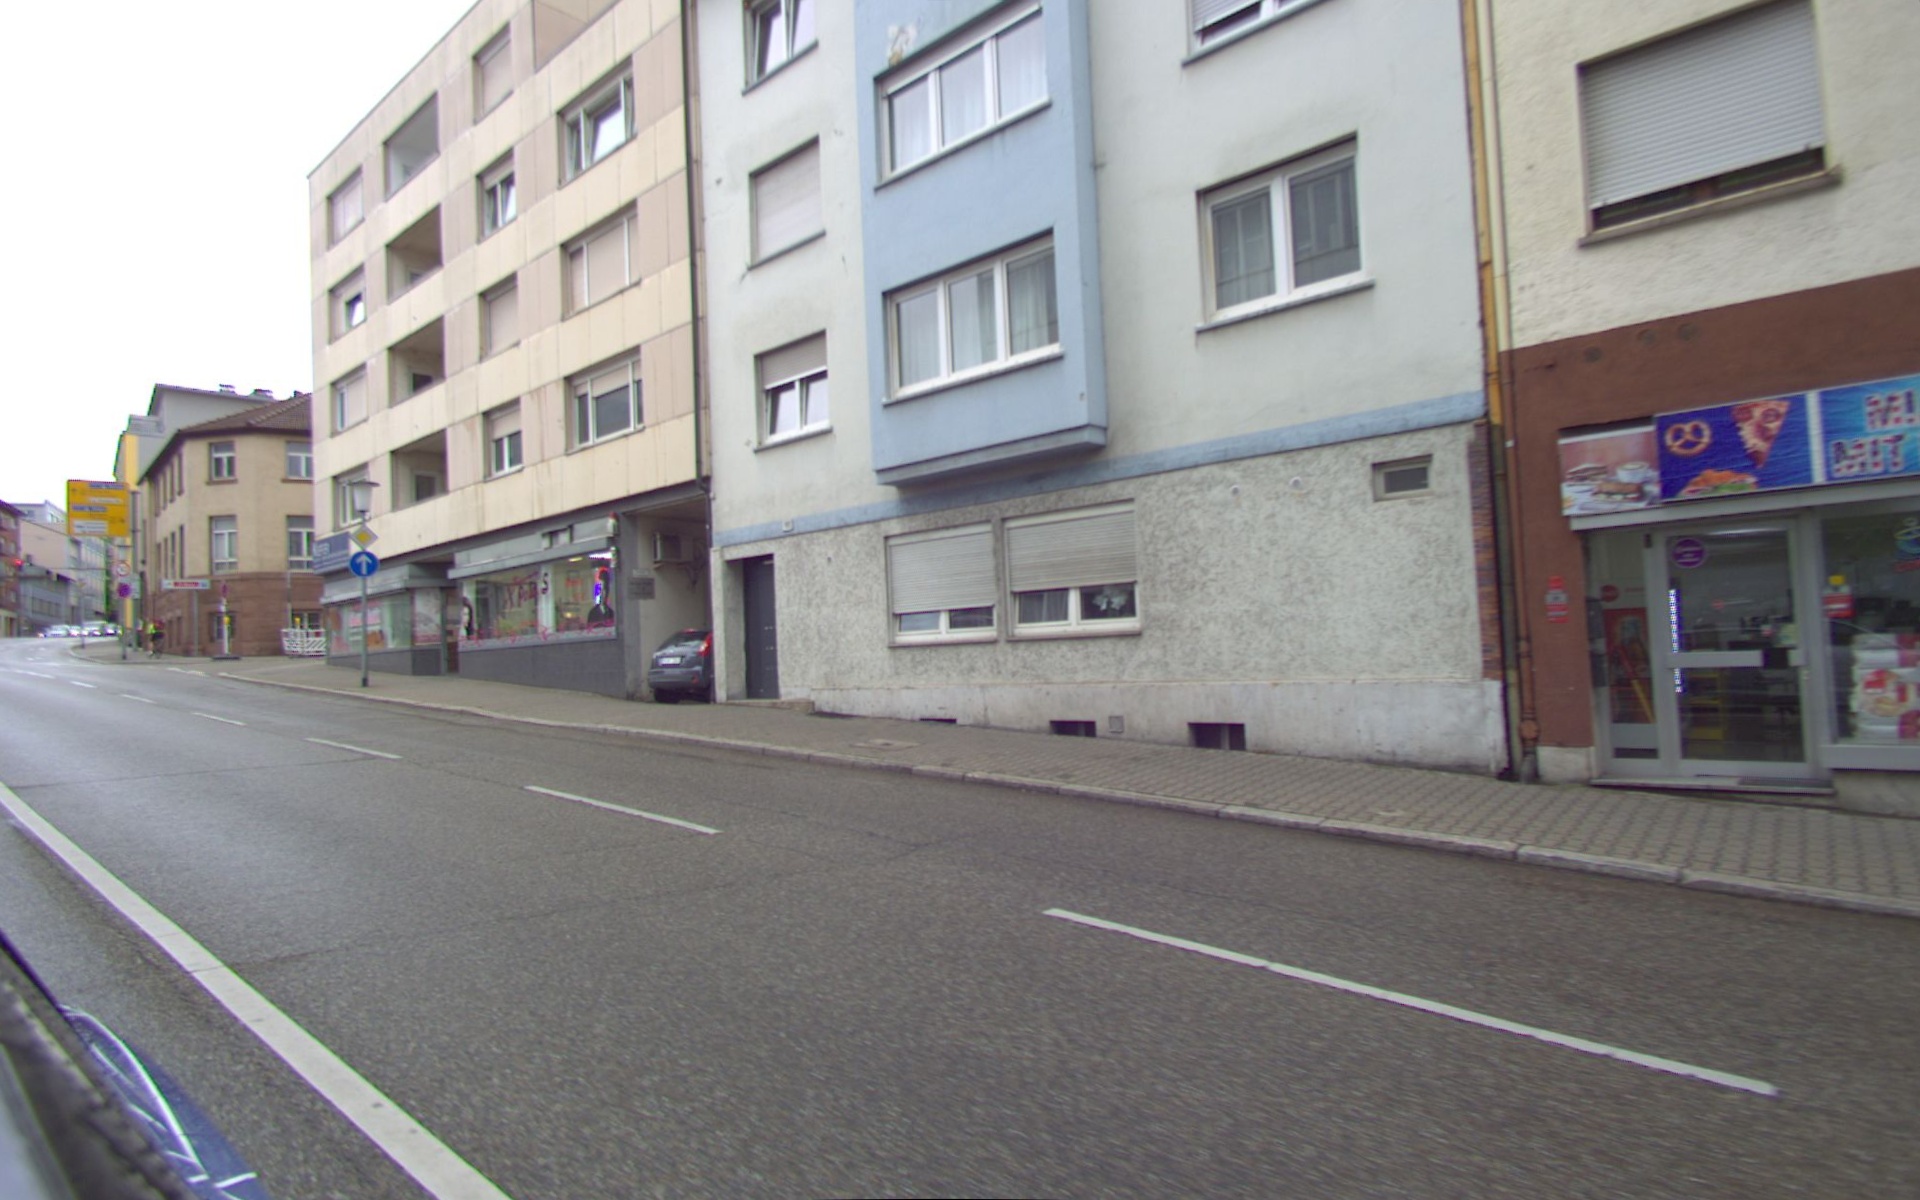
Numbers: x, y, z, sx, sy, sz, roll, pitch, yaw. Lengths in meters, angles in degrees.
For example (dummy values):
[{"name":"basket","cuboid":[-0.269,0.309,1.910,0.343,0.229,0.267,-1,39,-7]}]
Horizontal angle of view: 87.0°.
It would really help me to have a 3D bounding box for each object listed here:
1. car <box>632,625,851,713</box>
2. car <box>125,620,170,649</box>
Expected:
[{"name":"car","cuboid":[-4.003,1.376,19.136,1.674,1.361,3.954,-3,-9,34]},{"name":"car","cuboid":[-45.420,1.915,56.601,1.834,1.464,3.970,-4,1,-39]}]
